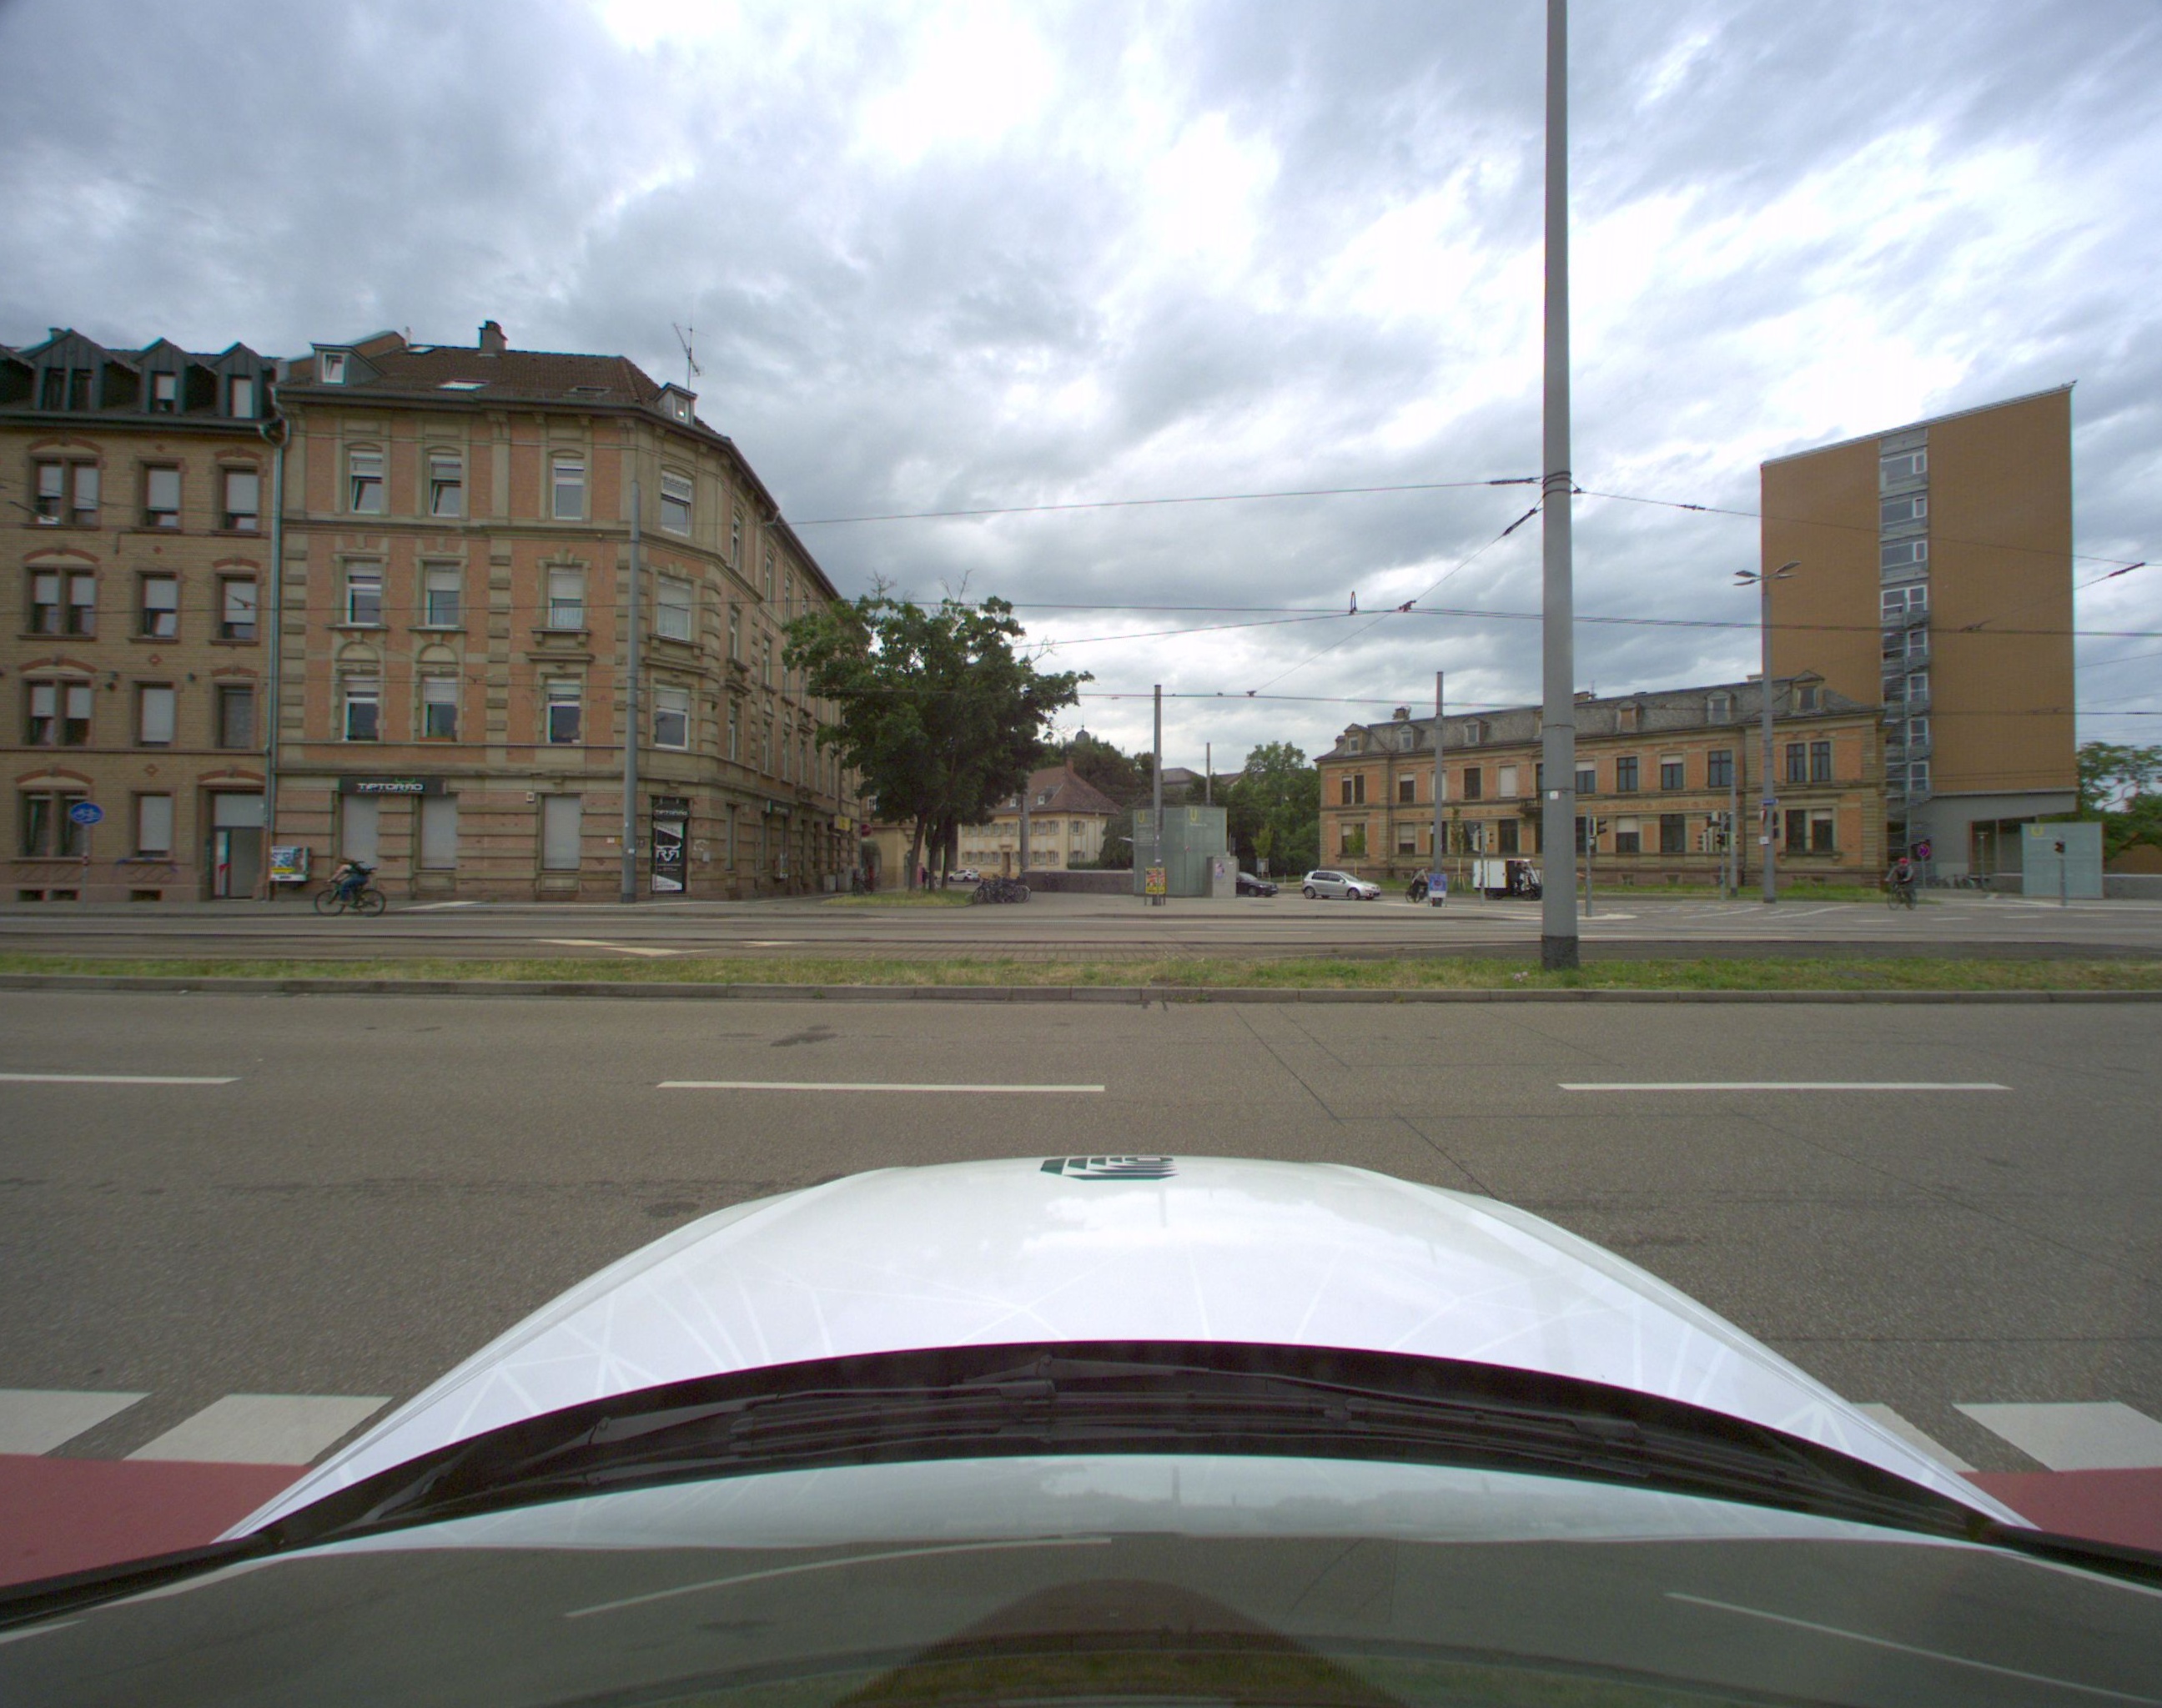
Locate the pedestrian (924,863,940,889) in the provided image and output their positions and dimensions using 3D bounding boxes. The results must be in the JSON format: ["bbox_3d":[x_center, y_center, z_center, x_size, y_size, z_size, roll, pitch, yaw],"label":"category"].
[{"bbox_3d":[-9.866,1.459,53.923,0.841,1.722,0.952,0,-1,1],"label":"pedestrian"}]

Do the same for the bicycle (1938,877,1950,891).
[{"bbox_3d":[67.701,2.335,63.880,0.565,1.106,1.436,-1,-1,45],"label":"bicycle"}]

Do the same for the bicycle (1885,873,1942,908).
[{"bbox_3d":[30.040,1.292,29.385,2.239,1.208,0.819,1,-2,-28],"label":"bicycle"}]

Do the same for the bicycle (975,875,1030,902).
[{"bbox_3d":[-3.052,1.337,31.709,2.020,0.987,0.523,0,-1,7],"label":"bicycle"}]

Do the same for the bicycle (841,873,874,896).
[{"bbox_3d":[-9.628,1.312,35.217,0.657,0.914,1.993,0,-1,7],"label":"bicycle"}]

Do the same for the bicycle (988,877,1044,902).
[{"bbox_3d":[-2.639,1.427,33.016,2.201,0.987,0.501,0,-1,7],"label":"bicycle"}]

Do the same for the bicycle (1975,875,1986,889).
[{"bbox_3d":[69.119,2.179,62.589,0.476,1.049,1.436,-1,-1,45],"label":"bicycle"}]

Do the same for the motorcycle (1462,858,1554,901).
[{"bbox_3d":[20.898,1.195,39.906,1.705,2.014,3.642,1,-1,-44],"label":"motorcycle"}]

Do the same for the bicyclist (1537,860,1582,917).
[{"bbox_3d":[15.529,1.102,26.436,0.810,1.798,1.029,-1,-1,0],"label":"bicyclist"}]

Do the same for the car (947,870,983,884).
[{"bbox_3d":[-12.664,2.464,88.985,4.135,1.449,1.707,0,-1,44],"label":"car"}]

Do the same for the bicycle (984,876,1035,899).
[{"bbox_3d":[-3.250,1.522,37.162,2.201,1.039,0.690,0,-1,7],"label":"bicycle"}]

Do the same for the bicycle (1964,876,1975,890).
[{"bbox_3d":[68.663,2.203,62.967,0.503,1.049,1.436,-1,-1,45],"label":"bicycle"}]

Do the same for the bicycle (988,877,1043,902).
[{"bbox_3d":[-2.748,1.483,34.283,2.201,0.987,0.612,0,-1,7],"label":"bicycle"}]

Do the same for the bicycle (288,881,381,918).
[{"bbox_3d":[-19.175,1.163,20.944,1.712,0.915,0.606,0,-1,-7],"label":"bicycle"}]

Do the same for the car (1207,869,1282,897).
[{"bbox_3d":[9.279,1.629,46.513,1.705,1.449,4.096,1,-1,-38],"label":"car"}]

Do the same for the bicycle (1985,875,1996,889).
[{"bbox_3d":[69.487,2.162,62.217,0.476,1.049,1.436,-1,-1,45],"label":"bicycle"}]

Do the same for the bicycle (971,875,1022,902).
[{"bbox_3d":[-3.216,1.313,30.963,1.854,0.987,0.501,0,-1,5],"label":"bicycle"}]

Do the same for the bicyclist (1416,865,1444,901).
[{"bbox_3d":[15.835,1.298,36.986,0.860,1.623,0.906,2,-2,-42],"label":"bicyclist"}]

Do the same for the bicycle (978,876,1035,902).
[{"bbox_3d":[-2.941,1.384,32.266,2.201,1.006,0.481,0,-1,7],"label":"bicycle"}]

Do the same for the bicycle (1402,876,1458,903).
[{"bbox_3d":[15.826,1.594,36.980,0.862,1.208,2.171,2,-2,-42],"label":"bicycle"}]

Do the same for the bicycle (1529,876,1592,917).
[{"bbox_3d":[15.532,1.365,26.443,0.811,1.243,1.999,-1,-2,0],"label":"bicycle"}]

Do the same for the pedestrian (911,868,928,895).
[{"bbox_3d":[-10.478,1.764,52.828,0.841,1.722,0.952,0,-1,1],"label":"pedestrian"}]

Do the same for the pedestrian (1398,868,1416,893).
[{"bbox_3d":[23.925,1.949,59.761,1.112,1.763,0.763,0,-1,35],"label":"pedestrian"}]

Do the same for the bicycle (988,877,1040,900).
[{"bbox_3d":[-2.934,1.524,35.921,2.201,0.987,0.586,0,-1,7],"label":"bicycle"}]

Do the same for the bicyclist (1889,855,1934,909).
[{"bbox_3d":[29.906,1.000,29.316,1.051,1.892,0.824,1,-2,-28],"label":"bicyclist"}]

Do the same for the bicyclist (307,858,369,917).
[{"bbox_3d":[-19.086,0.858,20.940,0.938,1.494,0.662,0,-1,-6],"label":"bicyclist"}]

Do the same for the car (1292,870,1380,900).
[{"bbox_3d":[13.179,1.570,42.277,1.770,1.454,4.113,1,-1,-39],"label":"car"}]

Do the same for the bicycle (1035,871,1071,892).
[{"bbox_3d":[-1.624,1.571,46.775,0.744,1.115,2.335,1,-1,-40],"label":"bicycle"}]

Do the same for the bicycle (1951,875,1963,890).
[{"bbox_3d":[68.198,2.203,63.434,0.565,1.106,1.436,-1,-1,45],"label":"bicycle"}]
